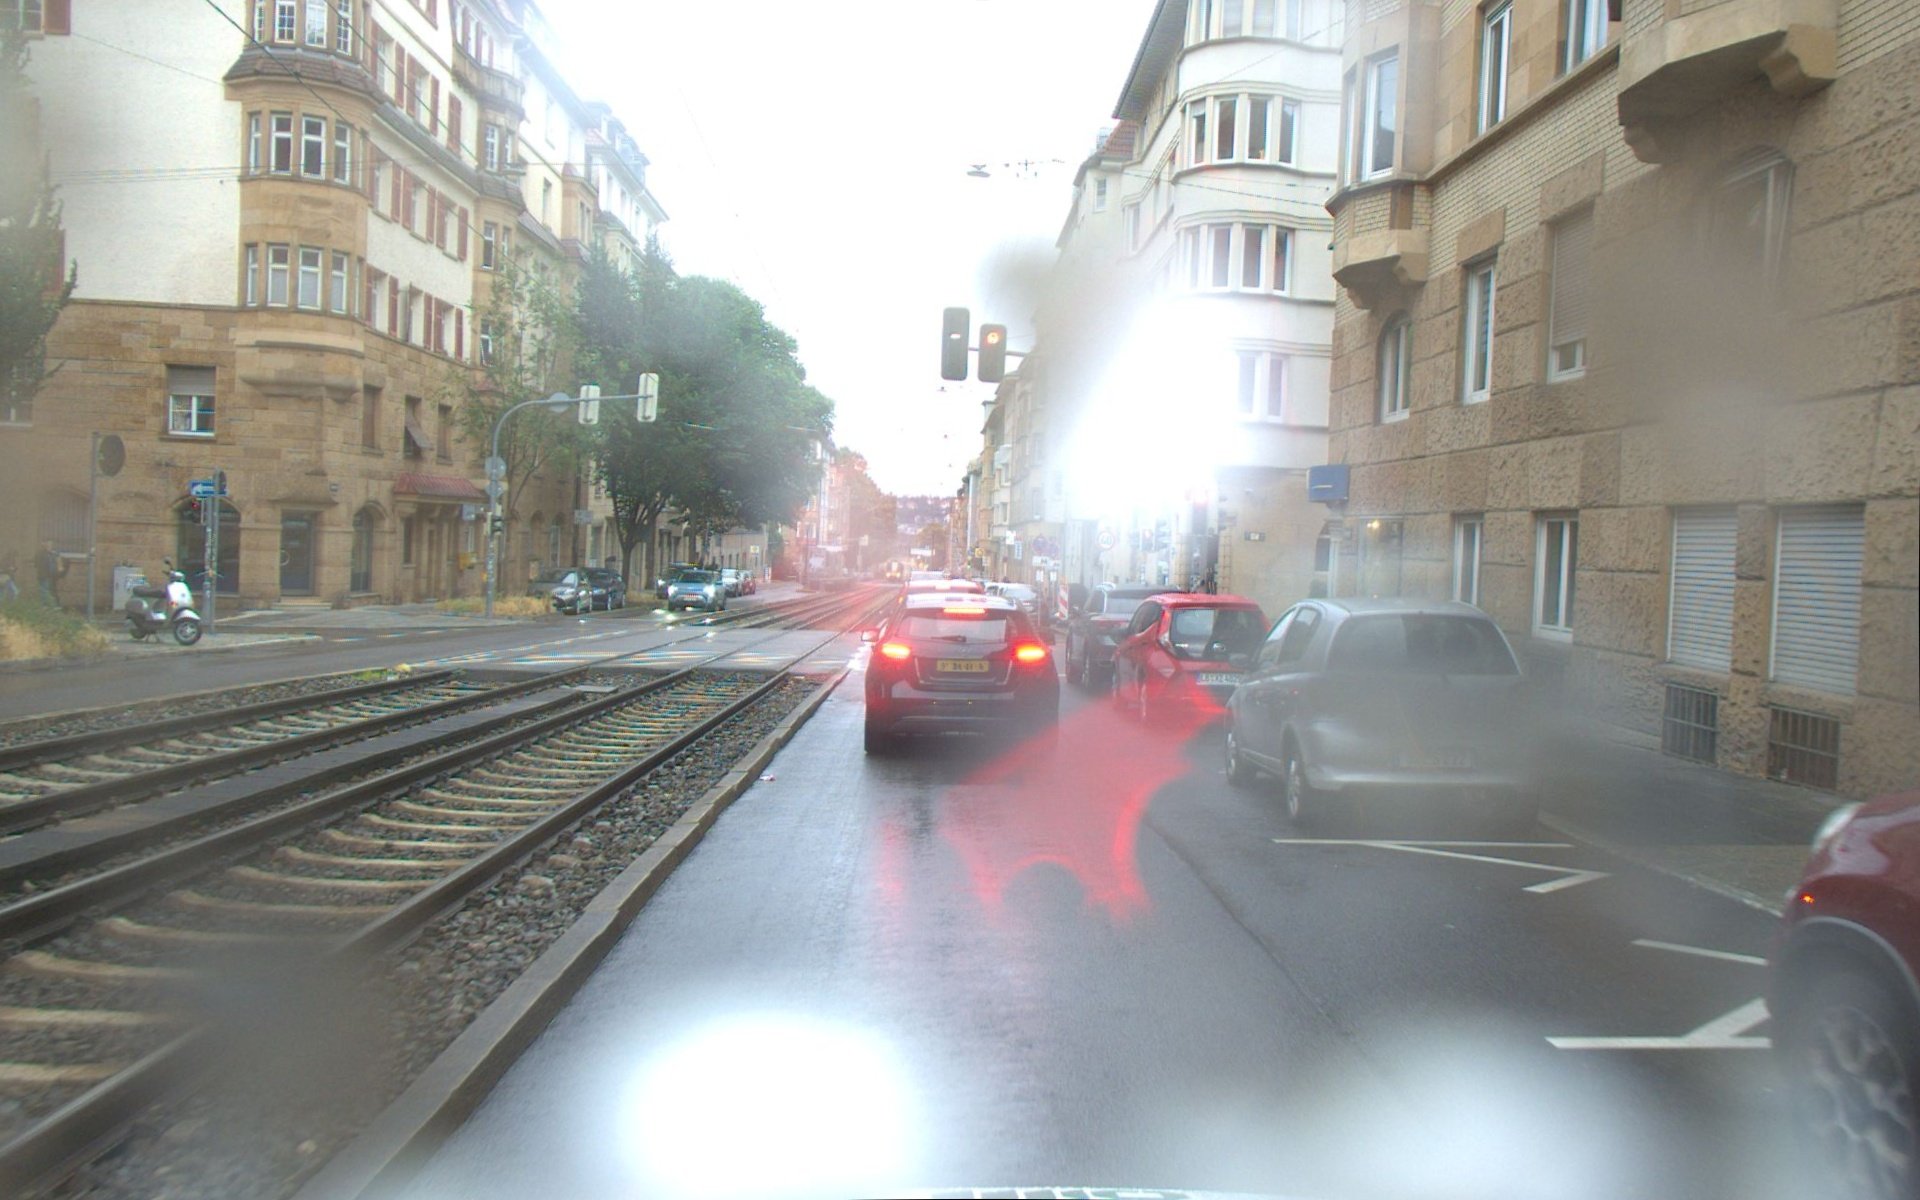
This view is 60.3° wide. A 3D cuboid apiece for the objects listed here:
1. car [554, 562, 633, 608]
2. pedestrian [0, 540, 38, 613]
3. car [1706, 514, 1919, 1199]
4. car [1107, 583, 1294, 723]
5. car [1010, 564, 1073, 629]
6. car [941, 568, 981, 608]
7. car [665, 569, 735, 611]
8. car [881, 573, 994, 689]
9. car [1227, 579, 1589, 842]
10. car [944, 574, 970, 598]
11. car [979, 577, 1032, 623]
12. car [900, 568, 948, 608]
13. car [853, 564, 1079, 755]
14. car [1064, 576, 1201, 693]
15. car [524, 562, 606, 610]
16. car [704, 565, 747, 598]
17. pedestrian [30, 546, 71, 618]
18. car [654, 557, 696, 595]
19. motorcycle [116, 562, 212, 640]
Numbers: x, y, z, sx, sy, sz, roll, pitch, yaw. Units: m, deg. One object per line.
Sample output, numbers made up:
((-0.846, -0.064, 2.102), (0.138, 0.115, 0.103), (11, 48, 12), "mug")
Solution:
((-13.177, -0.550, 59.646), (1.953, 1.544, 3.999), (2, 1, -1), "car")
((-23.030, -0.573, 40.273), (0.595, 1.763, 0.865), (2, 0, 0), "pedestrian")
((3.091, 0.678, 2.732), (1.677, 1.656, 3.998), (2, 1, -3), "car")
((2.733, 0.561, 19.377), (1.570, 1.444, 3.147), (2, 1, -3), "car")
((2.726, -0.101, 56.025), (1.860, 2.063, 4.175), (1, -1, -1), "car")
((0.036, -0.570, 79.785), (1.815, 1.829, 3.811), (1, -1, -1), "car")
((-10.160, -0.376, 64.911), (1.757, 1.575, 4.002), (-1, 0, 5), "car")
((-0.339, 0.411, 24.943), (1.504, 1.536, 4.000), (2, 1, -1), "car")
((3.074, 0.672, 12.047), (1.604, 1.569, 3.465), (3, 0, -1), "car")
((-0.245, -1.071, 124.286), (1.870, 1.735, 4.000), (2, 1, -1), "car")
((1.862, 0.023, 68.265), (1.734, 1.807, 3.996), (1, -1, -5), "car")
((-1.693, -0.570, 76.129), (1.884, 1.684, 3.996), (2, 1, -5), "car")
((-0.012, 0.514, 15.975), (1.907, 1.592, 3.641), (1, 0, -2), "car")
((2.501, 0.459, 24.721), (1.518, 1.534, 3.999), (3, 0, -1), "car")
((-12.929, -0.448, 54.329), (1.735, 1.489, 3.999), (1, 0, -1), "car")
((-13.874, -1.107, 97.832), (1.953, 1.825, 3.999), (2, 0, -1), "car")
((-22.779, -0.443, 41.421), (0.595, 1.763, 0.642), (2, 0, 0), "pedestrian")
((-13.811, -1.154, 80.314), (1.755, 1.721, 3.994), (2, 0, -7), "car")
((-12.555, 0.015, 26.076), (1.409, 1.154, 0.619), (2, 0, 29), "motorcycle")
